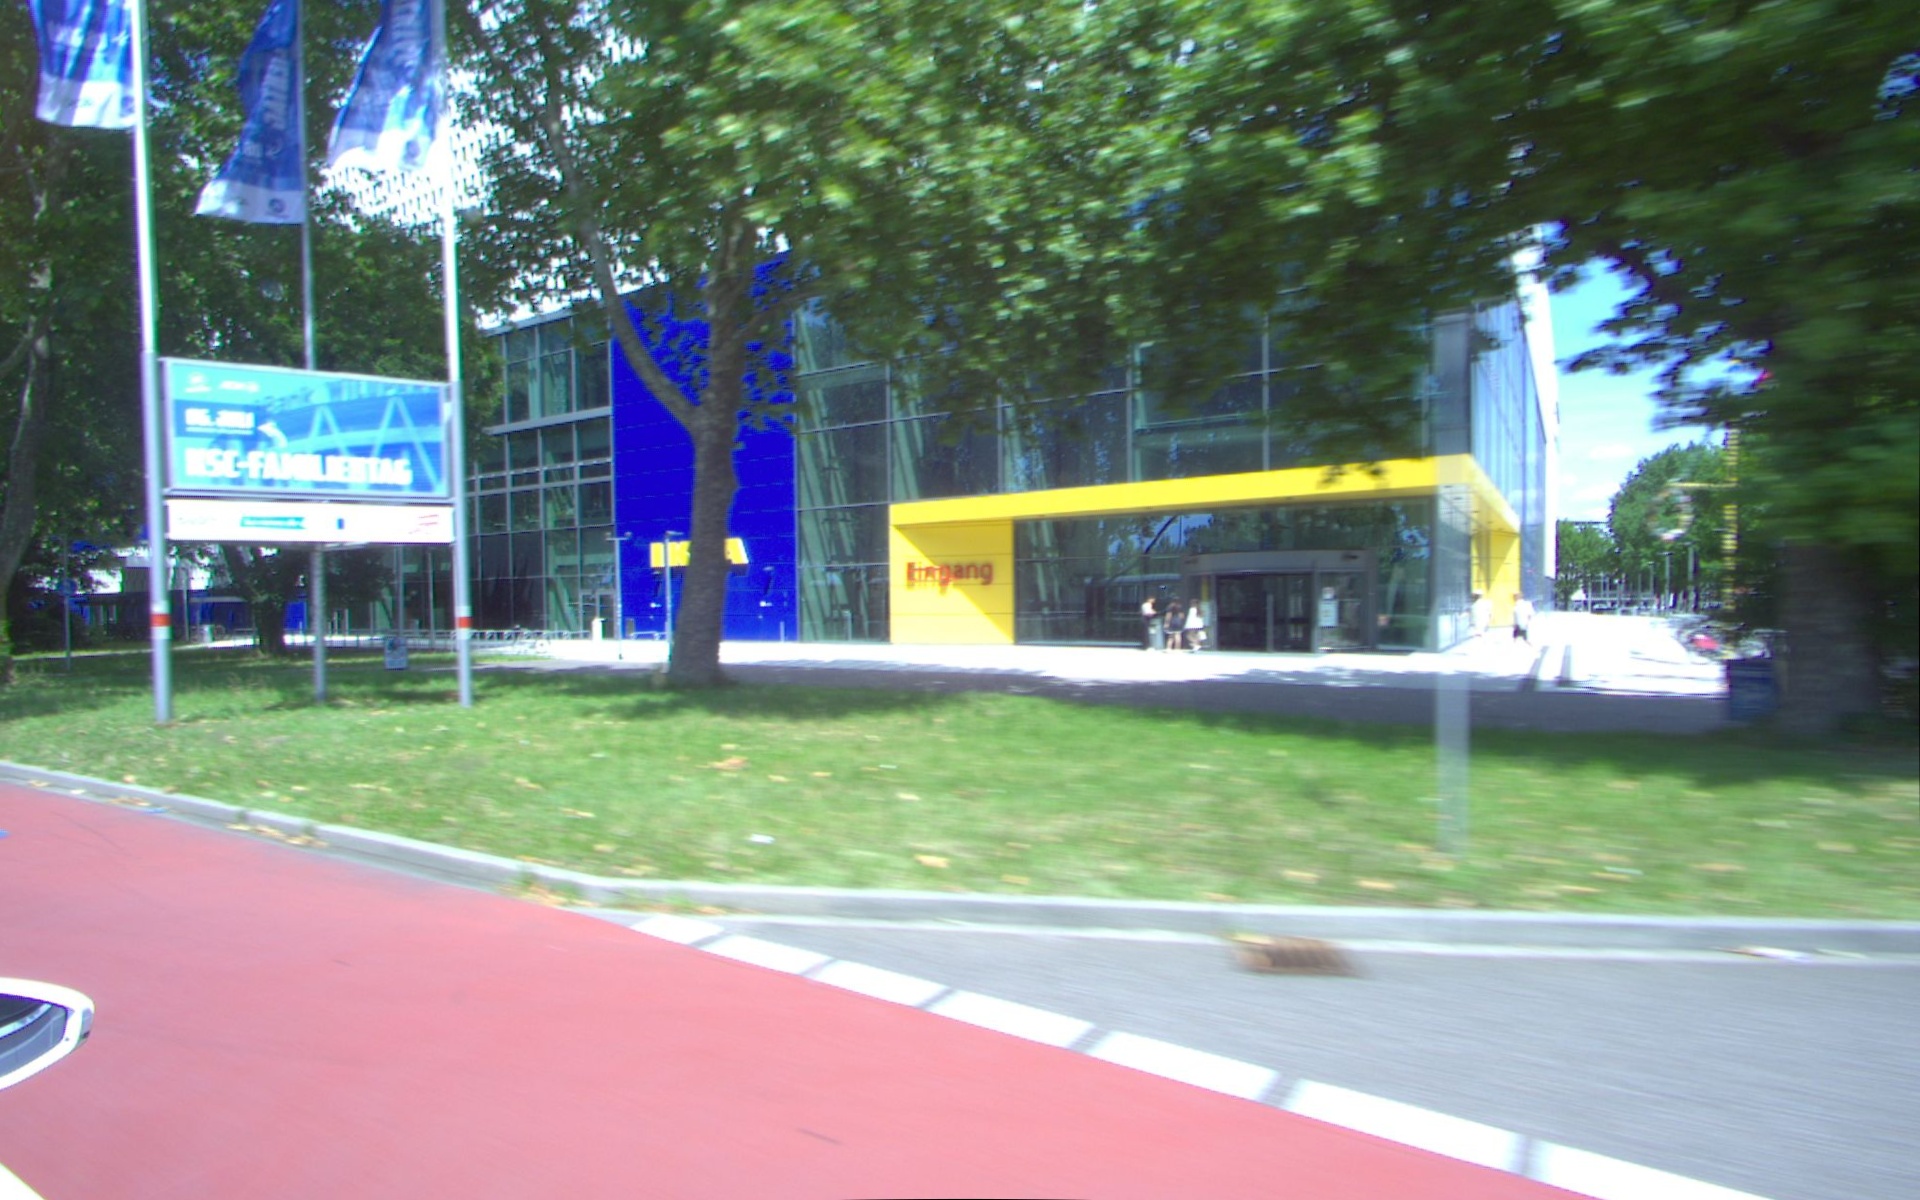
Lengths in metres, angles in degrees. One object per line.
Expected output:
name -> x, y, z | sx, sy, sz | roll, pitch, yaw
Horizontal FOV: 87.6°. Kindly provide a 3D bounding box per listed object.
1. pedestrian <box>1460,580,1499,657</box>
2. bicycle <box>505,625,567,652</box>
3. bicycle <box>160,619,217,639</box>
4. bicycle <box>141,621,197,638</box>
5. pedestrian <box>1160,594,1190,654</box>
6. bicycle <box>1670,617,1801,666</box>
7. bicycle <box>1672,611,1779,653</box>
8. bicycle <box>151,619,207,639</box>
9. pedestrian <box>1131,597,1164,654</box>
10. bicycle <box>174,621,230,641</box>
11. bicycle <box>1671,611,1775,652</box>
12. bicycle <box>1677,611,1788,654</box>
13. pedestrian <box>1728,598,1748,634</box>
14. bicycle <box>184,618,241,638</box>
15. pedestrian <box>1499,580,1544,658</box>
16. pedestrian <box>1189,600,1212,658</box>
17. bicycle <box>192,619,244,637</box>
pedestrian -> 14.112, 0.506, 27.203 | 0.725, 2.040, 0.792 | 0, 0, 45
bicycle -> -15.996, 1.442, 37.841 | 0.855, 0.981, 2.058 | 0, 0, 28
bicycle -> -45.211, 1.686, 58.700 | 0.747, 1.125, 2.544 | 0, -1, 27
bicycle -> -47.465, 1.752, 60.117 | 0.747, 0.983, 2.544 | 0, -1, 27
pedestrian -> 6.422, 0.723, 29.926 | 0.729, 1.758, 0.781 | 0, 0, 25
bicycle -> 18.918, 0.997, 24.498 | 2.390, 1.160, 0.801 | -1, 0, 19
bicycle -> 22.802, 0.954, 29.871 | 2.390, 1.214, 0.801 | -1, 0, 19
bicycle -> -46.380, 1.722, 59.493 | 0.747, 1.125, 2.544 | 0, -1, 27
pedestrian -> 5.887, 0.791, 31.466 | 0.772, 1.758, 0.737 | 0, 0, 34
bicycle -> -44.161, 1.809, 58.384 | 0.747, 1.125, 2.544 | 0, -1, 27
bicycle -> 23.408, 0.954, 30.761 | 2.390, 1.214, 0.801 | -1, 0, 19
bicycle -> 22.119, 0.919, 28.733 | 2.390, 1.214, 0.801 | -1, 0, 19
pedestrian -> 35.369, 0.731, 45.519 | 0.571, 1.607, 0.765 | 0, 0, 27
bicycle -> -43.248, 1.625, 57.969 | 0.747, 1.125, 2.544 | 0, -1, 27
pedestrian -> 14.841, 0.507, 26.475 | 0.784, 2.040, 0.733 | 0, 0, 1
pedestrian -> 7.117, 0.865, 29.631 | 0.576, 1.694, 0.606 | -1, 0, 24
bicycle -> -42.440, 1.595, 57.288 | 0.747, 0.973, 2.314 | 0, -1, 27
